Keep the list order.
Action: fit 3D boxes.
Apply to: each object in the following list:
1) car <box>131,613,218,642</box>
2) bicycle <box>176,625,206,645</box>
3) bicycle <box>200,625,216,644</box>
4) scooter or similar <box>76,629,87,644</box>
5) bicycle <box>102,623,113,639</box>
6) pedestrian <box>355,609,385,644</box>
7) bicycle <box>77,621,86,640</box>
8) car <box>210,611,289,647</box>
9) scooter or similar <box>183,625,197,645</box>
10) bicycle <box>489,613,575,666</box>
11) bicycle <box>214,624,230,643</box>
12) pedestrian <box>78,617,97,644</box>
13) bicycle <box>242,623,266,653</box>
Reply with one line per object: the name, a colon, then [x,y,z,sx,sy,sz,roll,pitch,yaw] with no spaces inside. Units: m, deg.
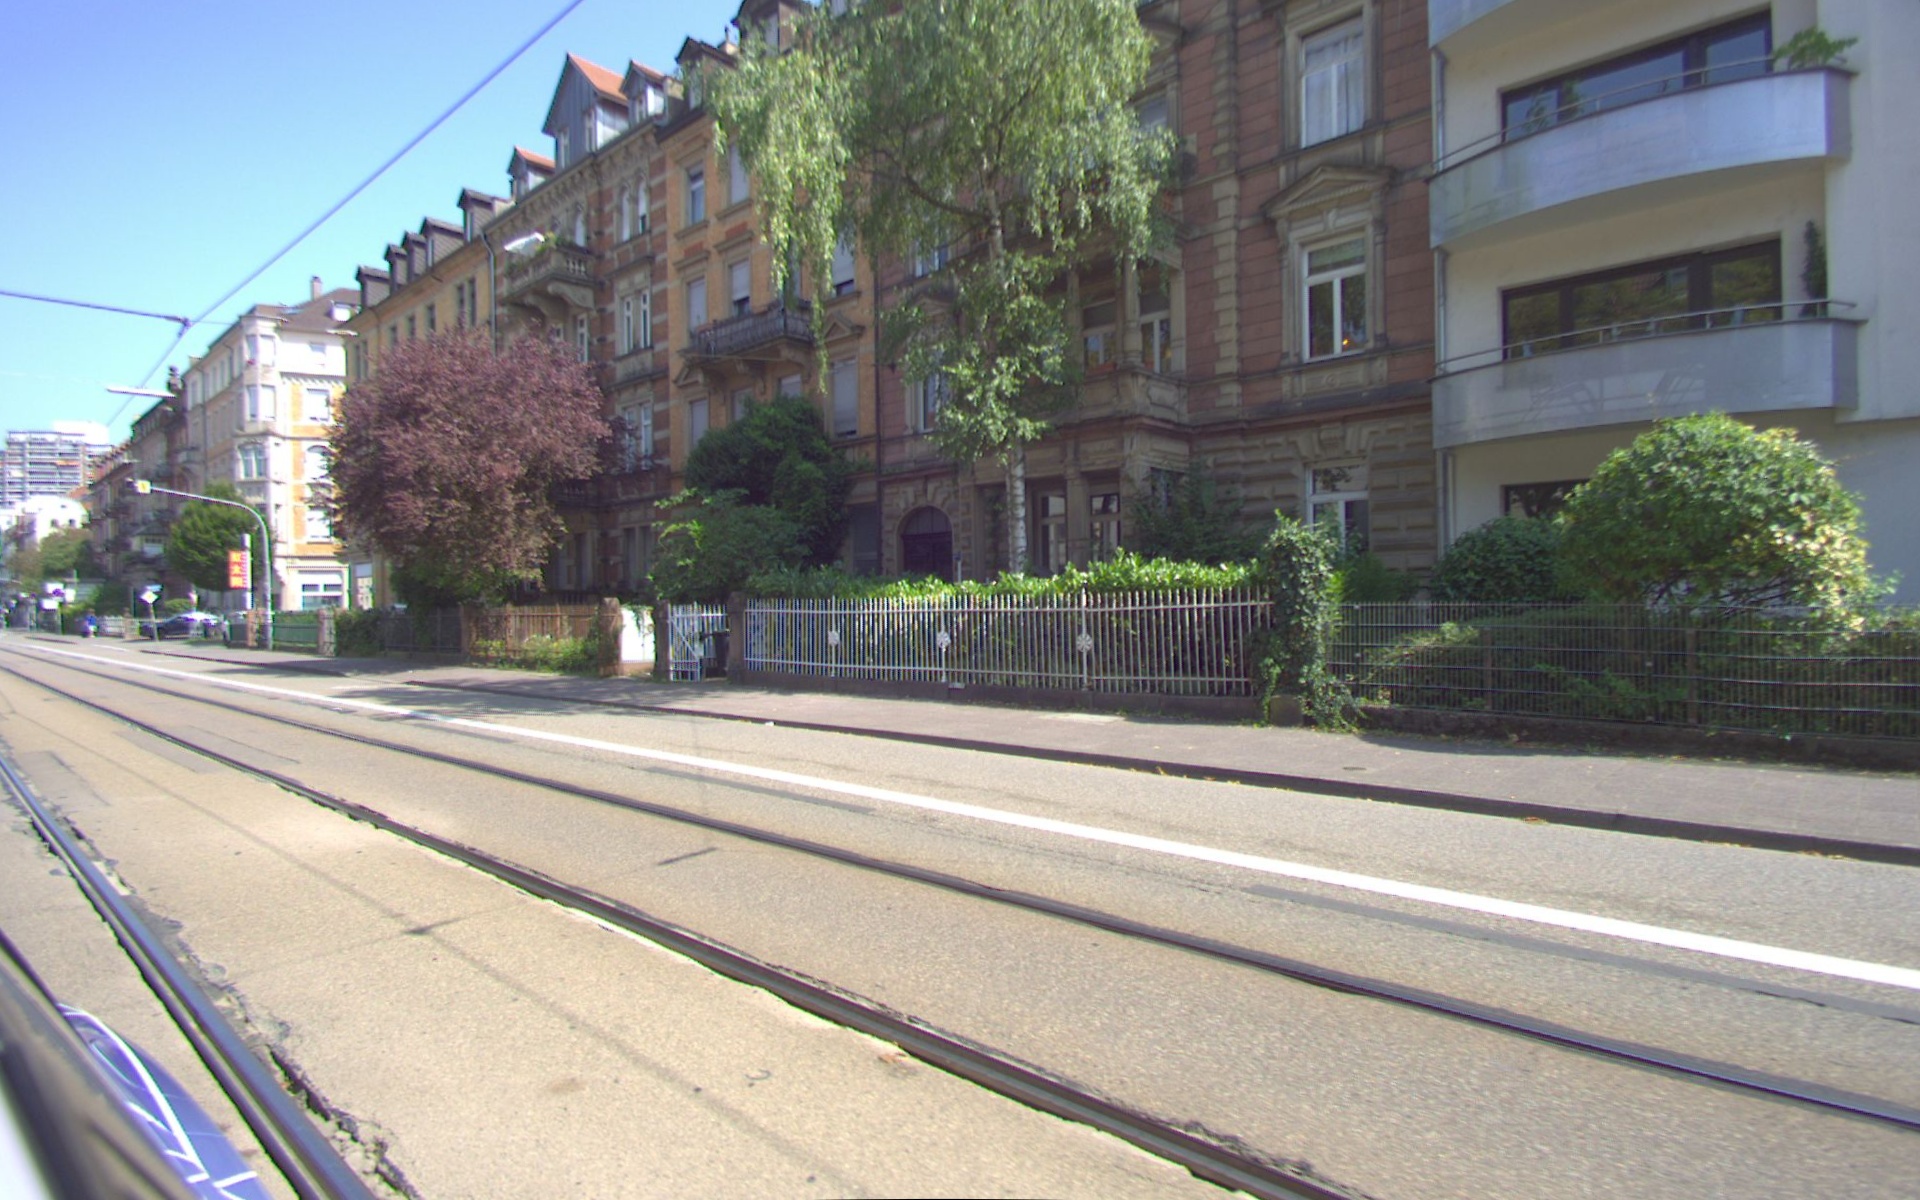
car: [-48.768,1.677,62.847,1.879,1.606,4.055,-2,0,44]
bicycle: [-45.373,2.046,59.716,0.387,1.107,1.442,-2,-1,20]
bicycle: [-43.983,2.013,59.179,0.384,1.107,1.456,-1,-1,-22]
scooter or similar: [-58.645,2.430,67.551,0.583,0.990,0.396,-1,0,35]
bicycle: [-57.723,2.112,68.553,1.833,1.046,0.385,-2,-1,44]
pedestrian: [-26.260,1.160,45.030,0.884,1.522,0.860,-2,-1,35]
bicycle: [-65.104,2.244,75.010,1.582,1.416,0.385,-2,-1,44]
car: [-33.284,1.344,47.381,4.355,1.606,1.974,-1,-1,40]
scooter or similar: [-44.587,2.039,58.592,0.588,1.107,1.392,-1,-1,-37]
bicycle: [-10.538,0.952,24.970,0.717,1.191,1.792,-1,1,45]
bicycle: [-43.302,1.973,59.365,0.384,1.107,1.456,-1,-1,-22]
pedestrian: [-58.160,2.054,67.447,0.870,1.769,0.874,-2,-1,43]
bicycle: [-27.518,1.478,39.436,1.567,1.107,0.386,-2,-1,41]
